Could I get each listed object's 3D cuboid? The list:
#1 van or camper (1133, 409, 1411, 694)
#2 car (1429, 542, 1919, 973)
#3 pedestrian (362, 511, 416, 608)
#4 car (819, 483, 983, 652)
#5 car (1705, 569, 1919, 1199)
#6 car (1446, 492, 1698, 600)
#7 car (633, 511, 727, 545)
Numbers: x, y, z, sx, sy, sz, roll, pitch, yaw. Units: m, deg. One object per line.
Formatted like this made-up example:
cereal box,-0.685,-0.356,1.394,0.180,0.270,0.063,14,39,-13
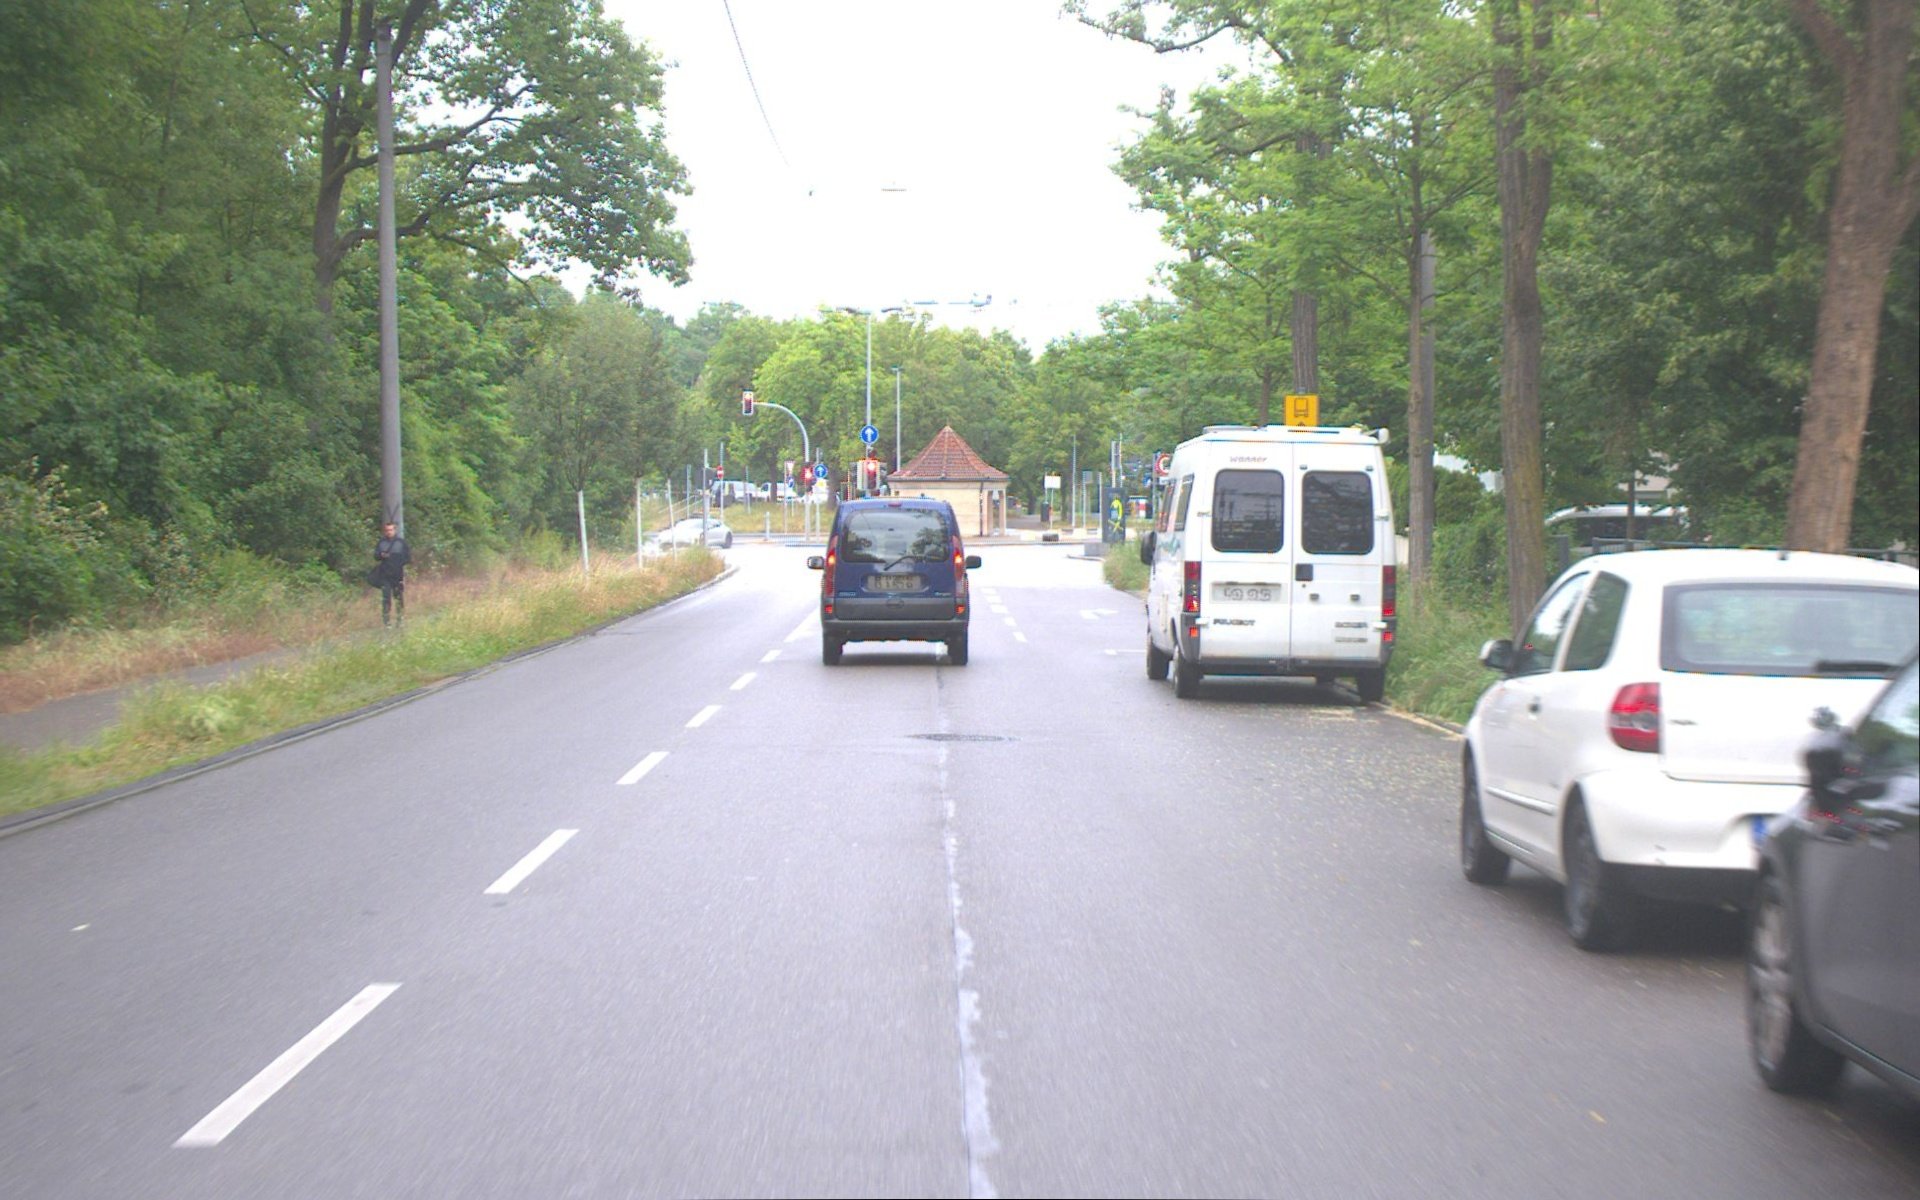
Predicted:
van or camper,2.933,-0.505,33.608,2.037,2.471,5.639,2,1,-1
car,2.993,0.533,14.086,1.571,1.467,3.765,2,1,0
pedestrian,-9.464,-0.679,57.015,0.781,1.602,0.732,0,1,-1
car,-0.659,-0.409,38.959,1.731,1.780,4.000,1,2,-1
car,2.964,0.712,8.235,1.617,1.465,3.944,2,1,2
car,10.874,-0.977,61.106,4.306,1.811,1.873,1,2,11
car,-12.488,-3.232,153.497,1.997,1.307,4.352,-1,2,31
